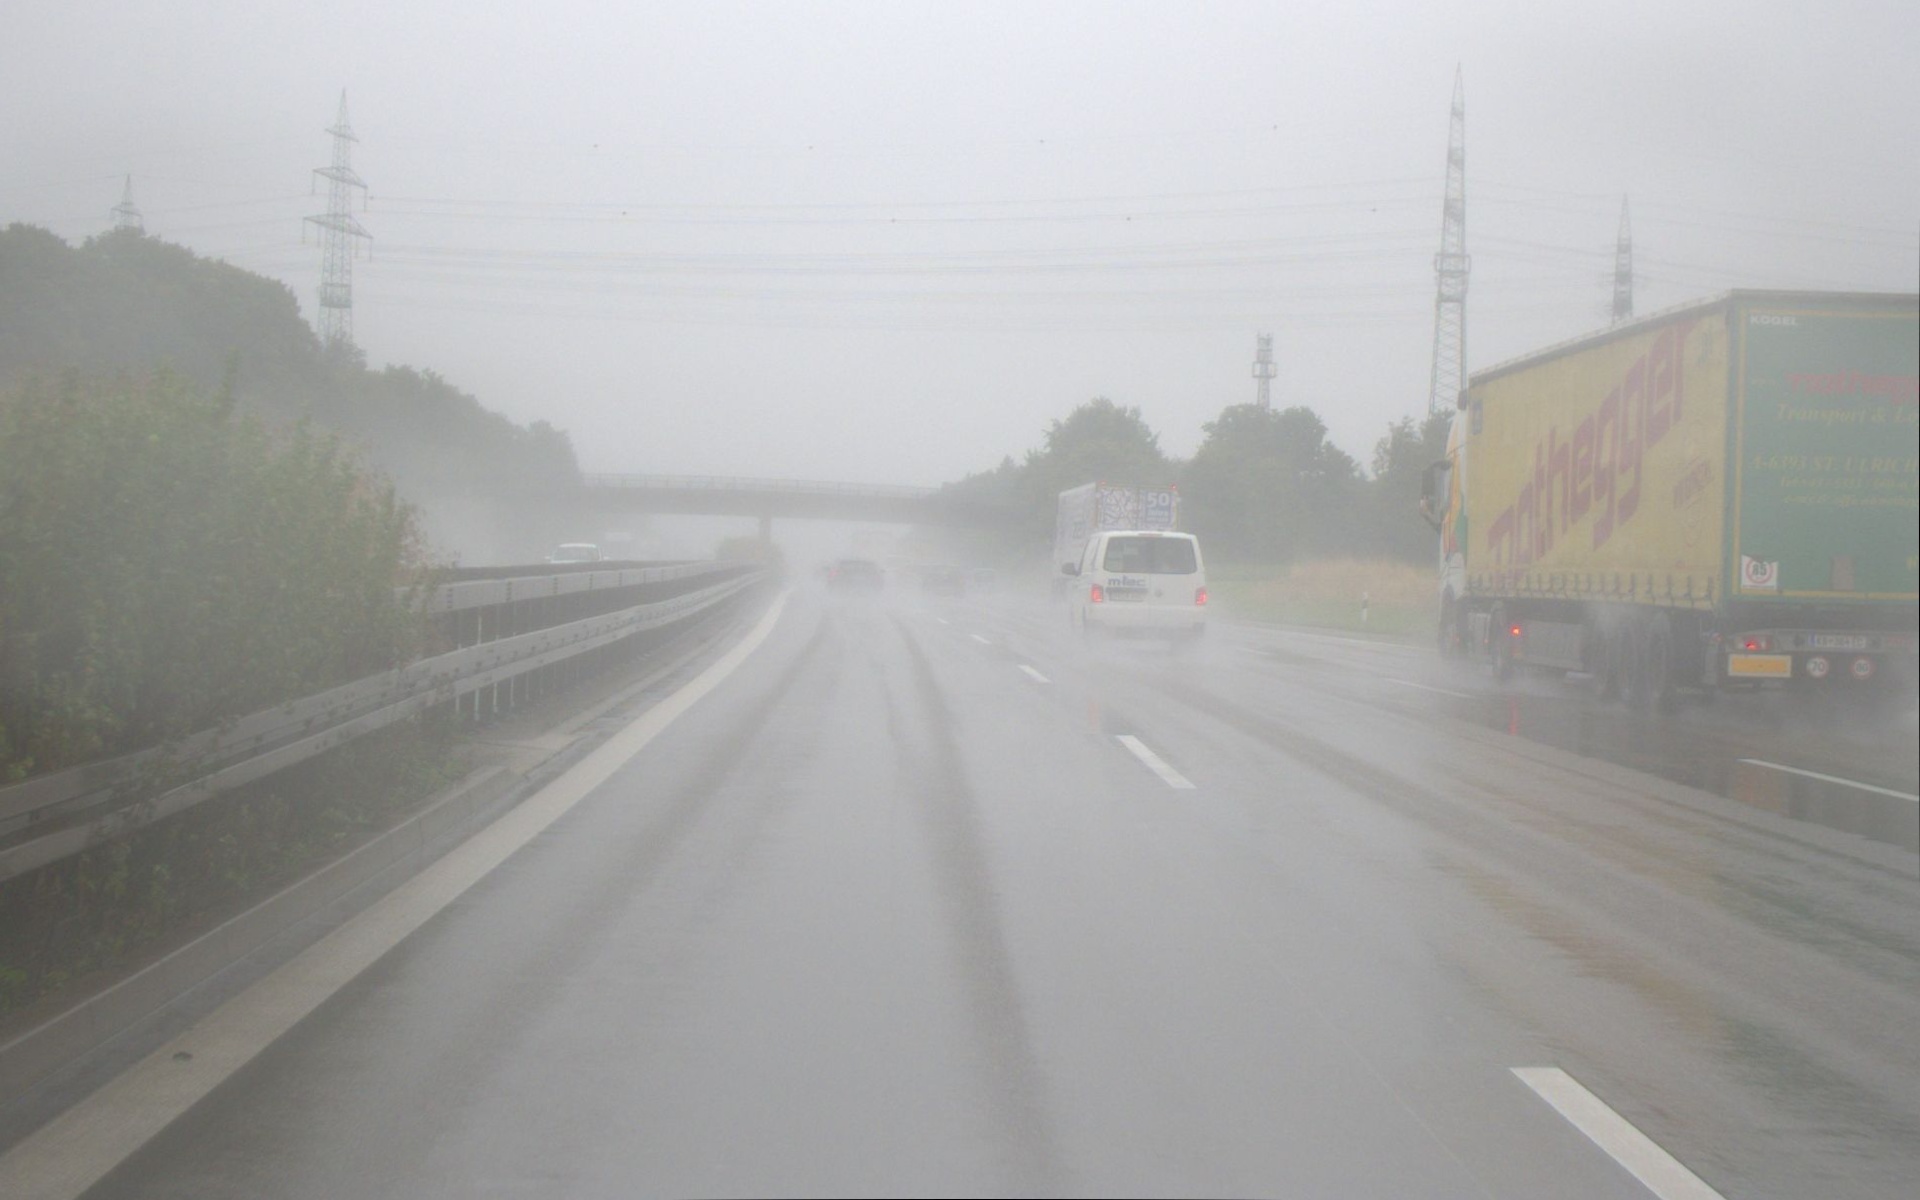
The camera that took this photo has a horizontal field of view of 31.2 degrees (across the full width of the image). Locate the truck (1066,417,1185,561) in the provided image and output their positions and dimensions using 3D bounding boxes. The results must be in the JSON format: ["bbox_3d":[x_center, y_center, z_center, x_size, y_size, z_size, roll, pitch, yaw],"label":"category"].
[{"bbox_3d":[5.093,-3.447,107.242,3.232,4.296,8.837,0,2,0],"label":"truck"}]

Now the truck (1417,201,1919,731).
[{"bbox_3d":[8.277,-1.311,38.116,4.189,4.614,16.106,1,1,0],"label":"truck"}]

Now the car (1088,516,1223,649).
[{"bbox_3d":[3.134,-0.319,54.420,1.994,2.006,4.000,1,2,5],"label":"car"}]
